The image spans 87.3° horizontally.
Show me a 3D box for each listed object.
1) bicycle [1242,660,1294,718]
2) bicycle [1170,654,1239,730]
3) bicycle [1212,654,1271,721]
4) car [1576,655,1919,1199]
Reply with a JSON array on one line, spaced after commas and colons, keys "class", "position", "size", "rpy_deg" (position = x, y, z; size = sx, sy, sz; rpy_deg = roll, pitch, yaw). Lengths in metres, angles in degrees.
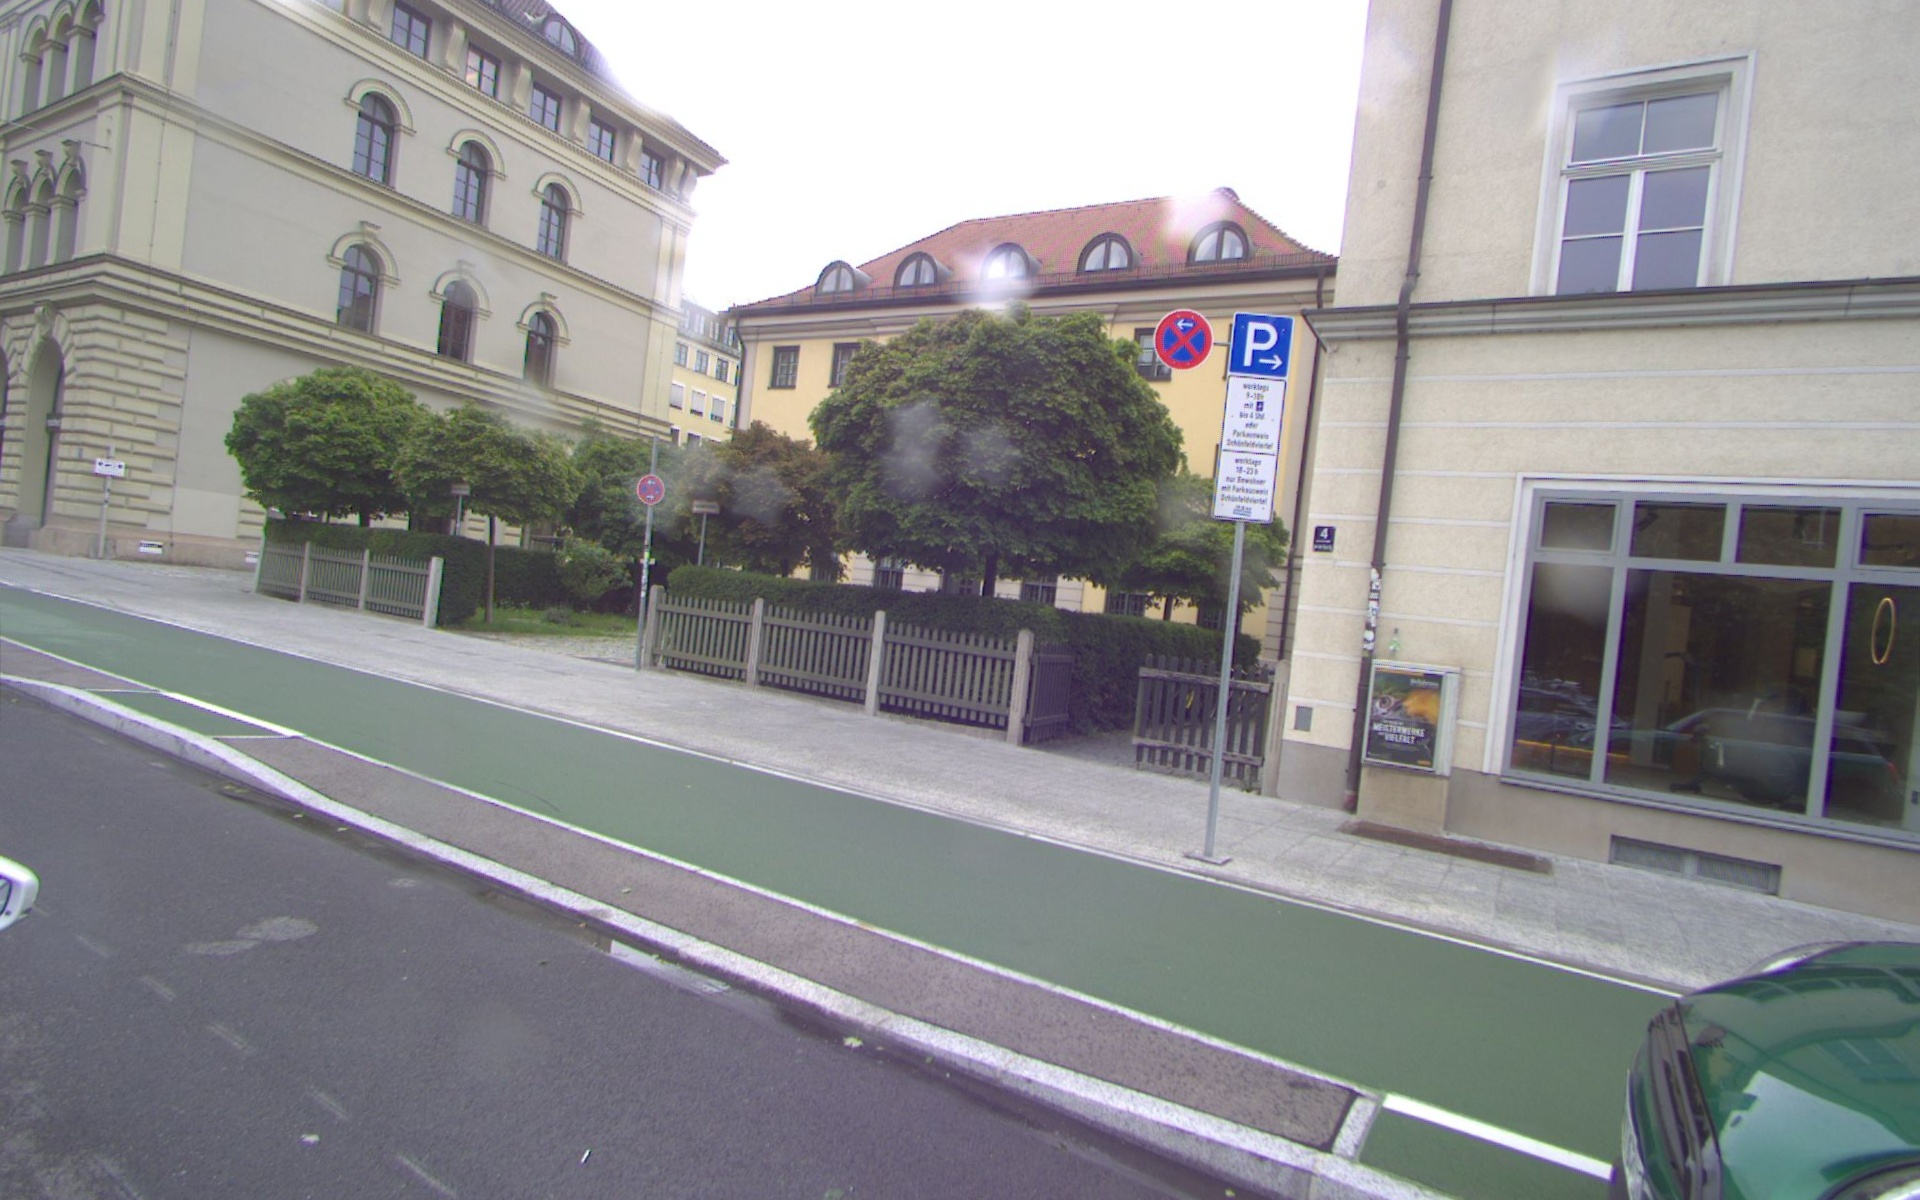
[{"class": "bicycle", "position": [6.227, 1.784, 20.255], "size": [0.512, 1.048, 1.830], "rpy_deg": [7, -1, 30]}, {"class": "bicycle", "position": [4.105, 1.525, 16.782], "size": [0.512, 1.130, 1.830], "rpy_deg": [7, 0, 30]}, {"class": "bicycle", "position": [5.235, 1.612, 18.619], "size": [0.512, 1.124, 1.830], "rpy_deg": [7, 0, 30]}, {"class": "car", "position": [3.034, 1.111, 1.217], "size": [3.767, 1.538, 1.678], "rpy_deg": [7, -1, 33]}]
